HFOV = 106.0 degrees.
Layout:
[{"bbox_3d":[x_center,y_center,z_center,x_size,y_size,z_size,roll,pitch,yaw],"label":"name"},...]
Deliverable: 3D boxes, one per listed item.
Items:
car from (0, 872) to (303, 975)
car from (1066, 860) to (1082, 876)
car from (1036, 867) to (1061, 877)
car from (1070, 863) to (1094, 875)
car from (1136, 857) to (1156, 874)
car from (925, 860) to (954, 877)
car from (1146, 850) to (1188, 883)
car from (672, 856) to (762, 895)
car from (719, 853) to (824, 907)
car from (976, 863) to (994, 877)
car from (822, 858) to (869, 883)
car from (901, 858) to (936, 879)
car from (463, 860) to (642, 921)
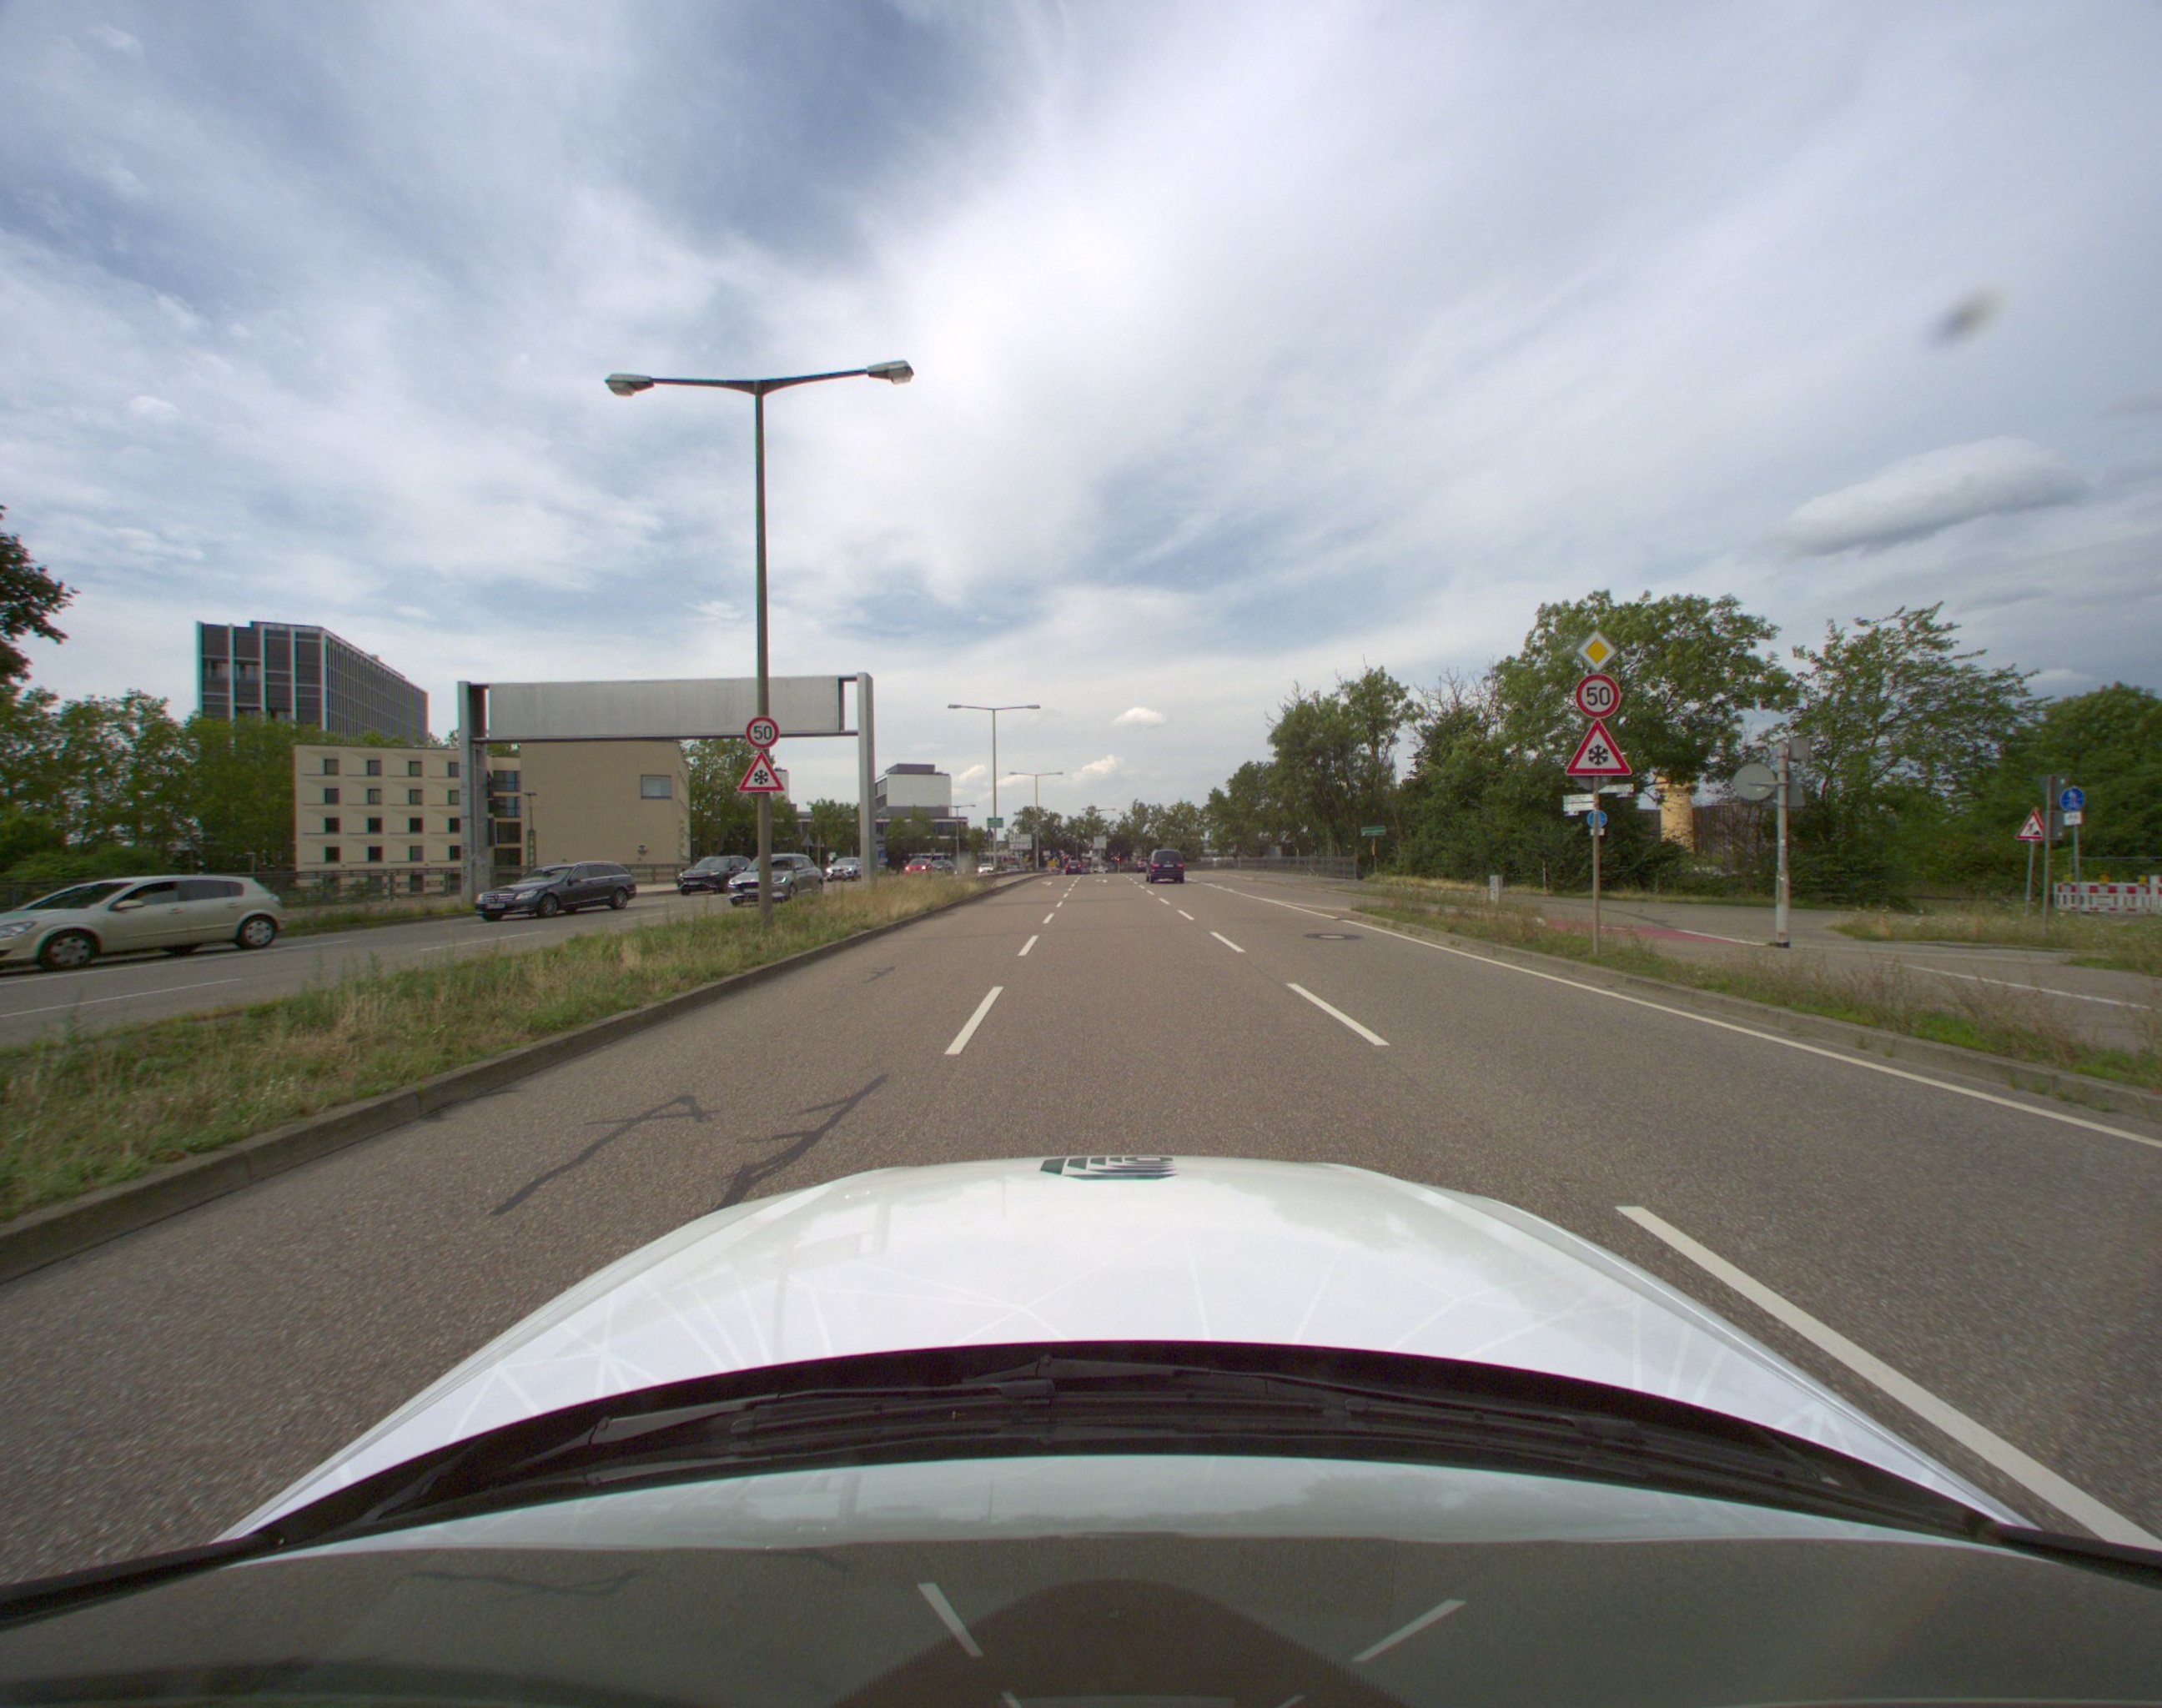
[{"bbox_3d":[-16.325,1.094,13.918,1.658,1.419,4.318,-3,0,4],"label":"car"},{"bbox_3d":[-0.784,1.511,90.592,1.725,1.653,4.114,0,0,0],"label":"car"},{"bbox_3d":[-4.938,2.707,122.770,3.587,1.418,1.746,0,0,44],"label":"car"},{"bbox_3d":[0.143,2.207,120.549,1.741,1.526,4.077,0,0,-29],"label":"car"},{"bbox_3d":[6.715,1.207,84.946,1.725,1.653,4.114,0,0,0],"label":"car"},{"bbox_3d":[-13.582,1.385,78.489,1.915,1.525,4.188,-3,-1,0],"label":"car"},{"bbox_3d":[4.463,0.623,42.830,1.725,1.653,4.114,0,0,0],"label":"car"},{"bbox_3d":[-15.720,0.886,35.447,1.787,1.525,4.594,-3,-1,0],"label":"car"},{"bbox_3d":[-9.096,0.714,24.285,1.689,1.486,3.859,-1,0,-1],"label":"car"},{"bbox_3d":[-11.382,1.878,96.586,1.731,1.482,4.081,-3,-1,-2],"label":"car"},{"bbox_3d":[-15.428,1.063,53.657,1.787,1.525,4.188,-3,-1,0],"label":"car"},{"bbox_3d":[-12.170,1.057,61.083,1.787,1.441,3.797,-3,-1,0],"label":"car"},{"bbox_3d":[-14.502,0.933,22.712,1.657,1.425,4.526,-3,-1,6],"label":"car"}]
